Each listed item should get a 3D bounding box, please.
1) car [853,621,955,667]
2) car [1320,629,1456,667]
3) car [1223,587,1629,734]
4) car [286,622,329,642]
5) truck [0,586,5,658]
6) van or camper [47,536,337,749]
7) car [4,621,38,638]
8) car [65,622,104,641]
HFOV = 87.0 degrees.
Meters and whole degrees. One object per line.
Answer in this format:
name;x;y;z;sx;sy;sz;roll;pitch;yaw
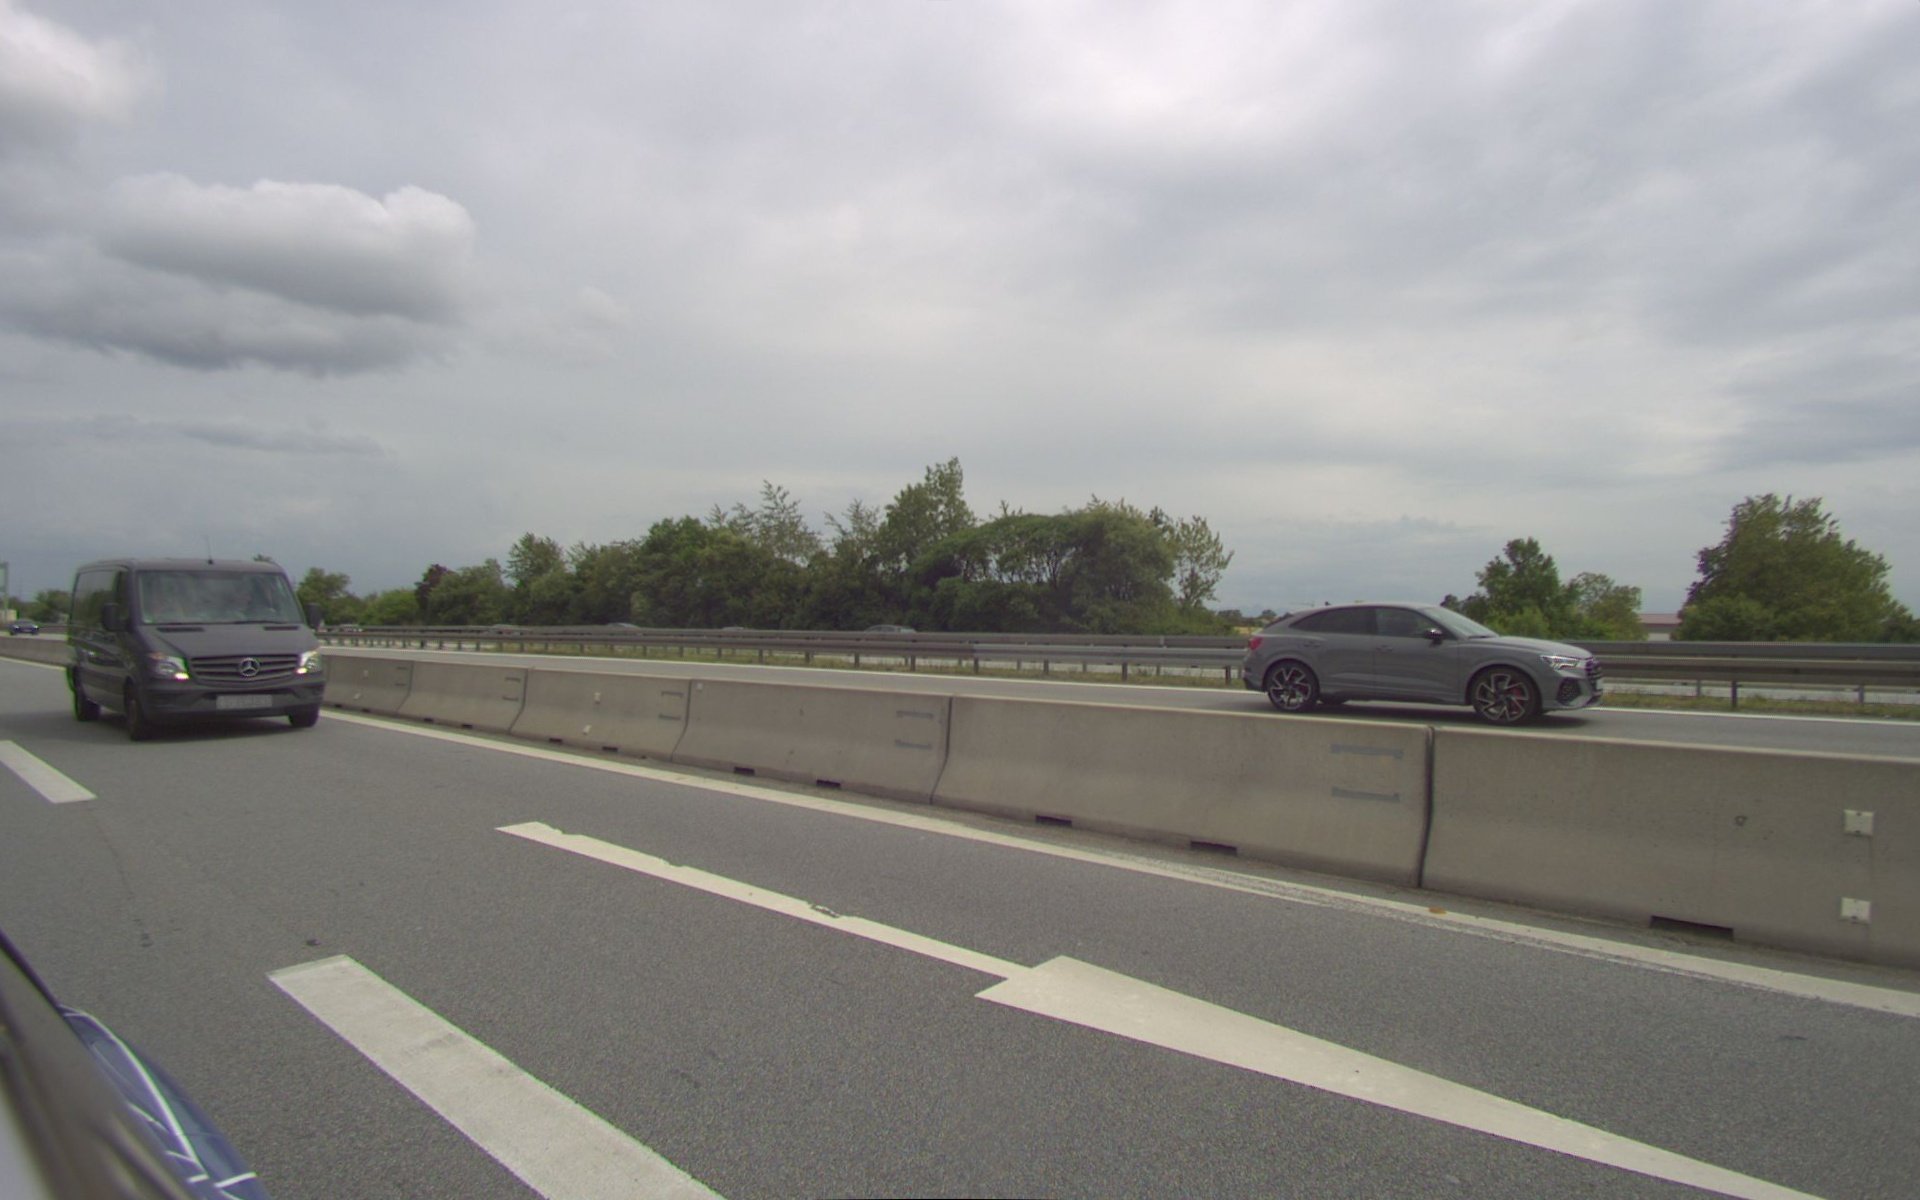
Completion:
car;-2.283;1.744;40.678;3.994;1.741;1.671;-1;-1;38
car;14.594;1.608;34.615;4.000;1.201;1.670;-1;-1;40
car;6.135;0.719;13.697;4.643;1.652;1.881;-1;-1;42
car;-52.072;2.509;80.734;3.714;1.531;1.716;-1;-1;38
truck;-44.452;0.995;44.874;6.365;3.113;2.380;-1;-1;40
van or camper;-10.872;0.531;14.103;6.122;2.389;1.979;-1;-1;41
car;-94.844;2.983;102.179;4.380;1.674;1.973;-1;-1;40
car;-68.961;2.467;79.697;4.381;1.461;1.754;-1;-1;41
